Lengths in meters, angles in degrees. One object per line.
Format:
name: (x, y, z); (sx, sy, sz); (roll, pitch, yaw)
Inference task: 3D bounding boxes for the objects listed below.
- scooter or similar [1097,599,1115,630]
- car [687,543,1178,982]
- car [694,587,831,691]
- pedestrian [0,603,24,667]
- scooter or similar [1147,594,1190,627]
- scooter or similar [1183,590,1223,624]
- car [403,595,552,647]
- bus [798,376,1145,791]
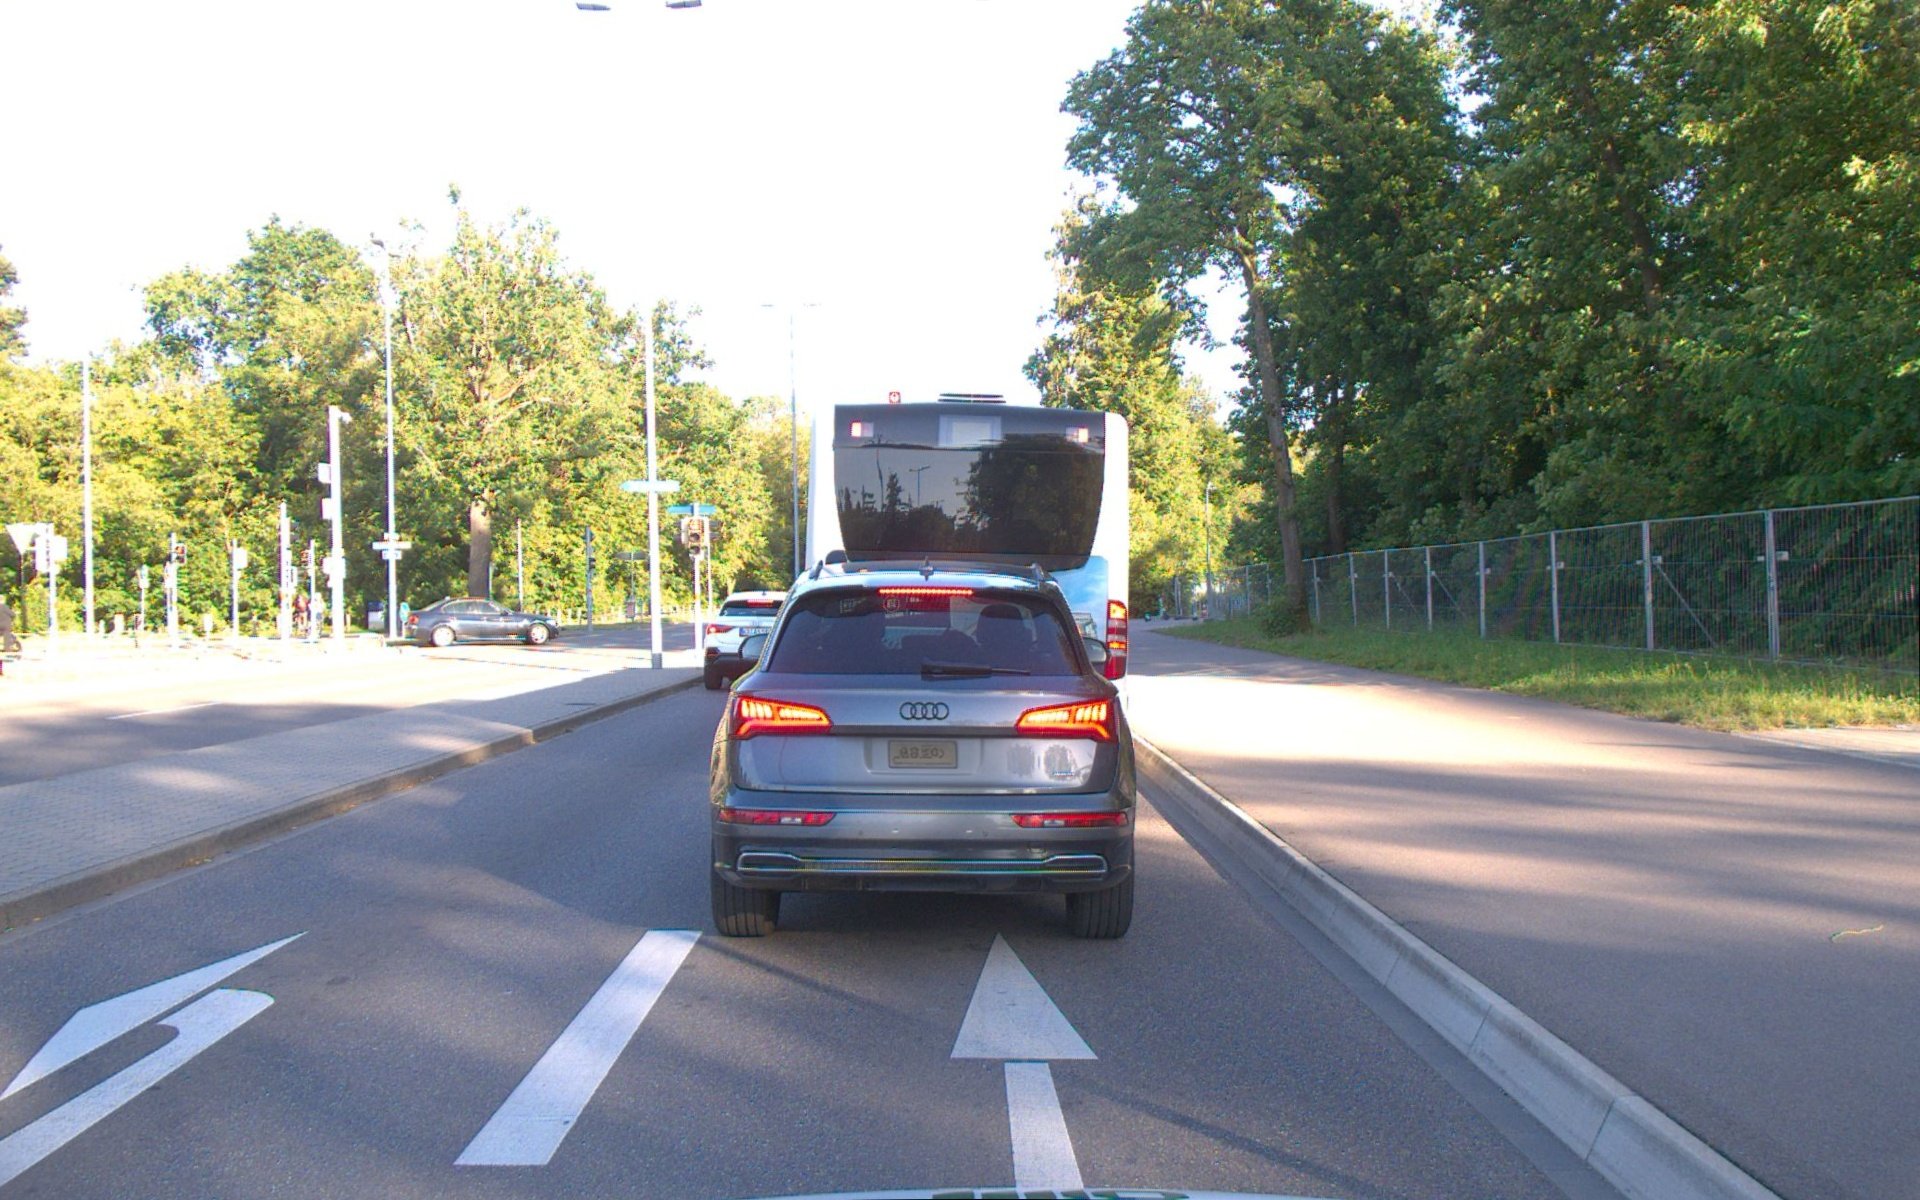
scooter or similar: (7.126, 0.692, 80.732); (0.498, 1.469, 2.020); (-2, 0, -6)
car: (-0.129, 0.615, 8.320); (1.860, 1.660, 3.999); (1, 0, -1)
car: (-3.183, 0.592, 27.355); (1.799, 1.545, 3.999); (-1, 0, -1)
pedestrian: (-24.137, 0.882, 41.858); (0.643, 1.587, 0.531); (-1, 0, -43)
scooter or similar: (9.823, 0.502, 77.971); (1.991, 1.469, 0.601); (-2, 0, -26)
scooter or similar: (11.640, 0.345, 79.298); (0.535, 1.594, 1.993); (-2, 0, -40)
car: (-14.311, 0.609, 49.064); (4.048, 1.411, 1.739); (-2, 0, -24)
bus: (0.023, -0.089, 16.823); (2.542, 3.041, 9.324); (0, 0, -1)
